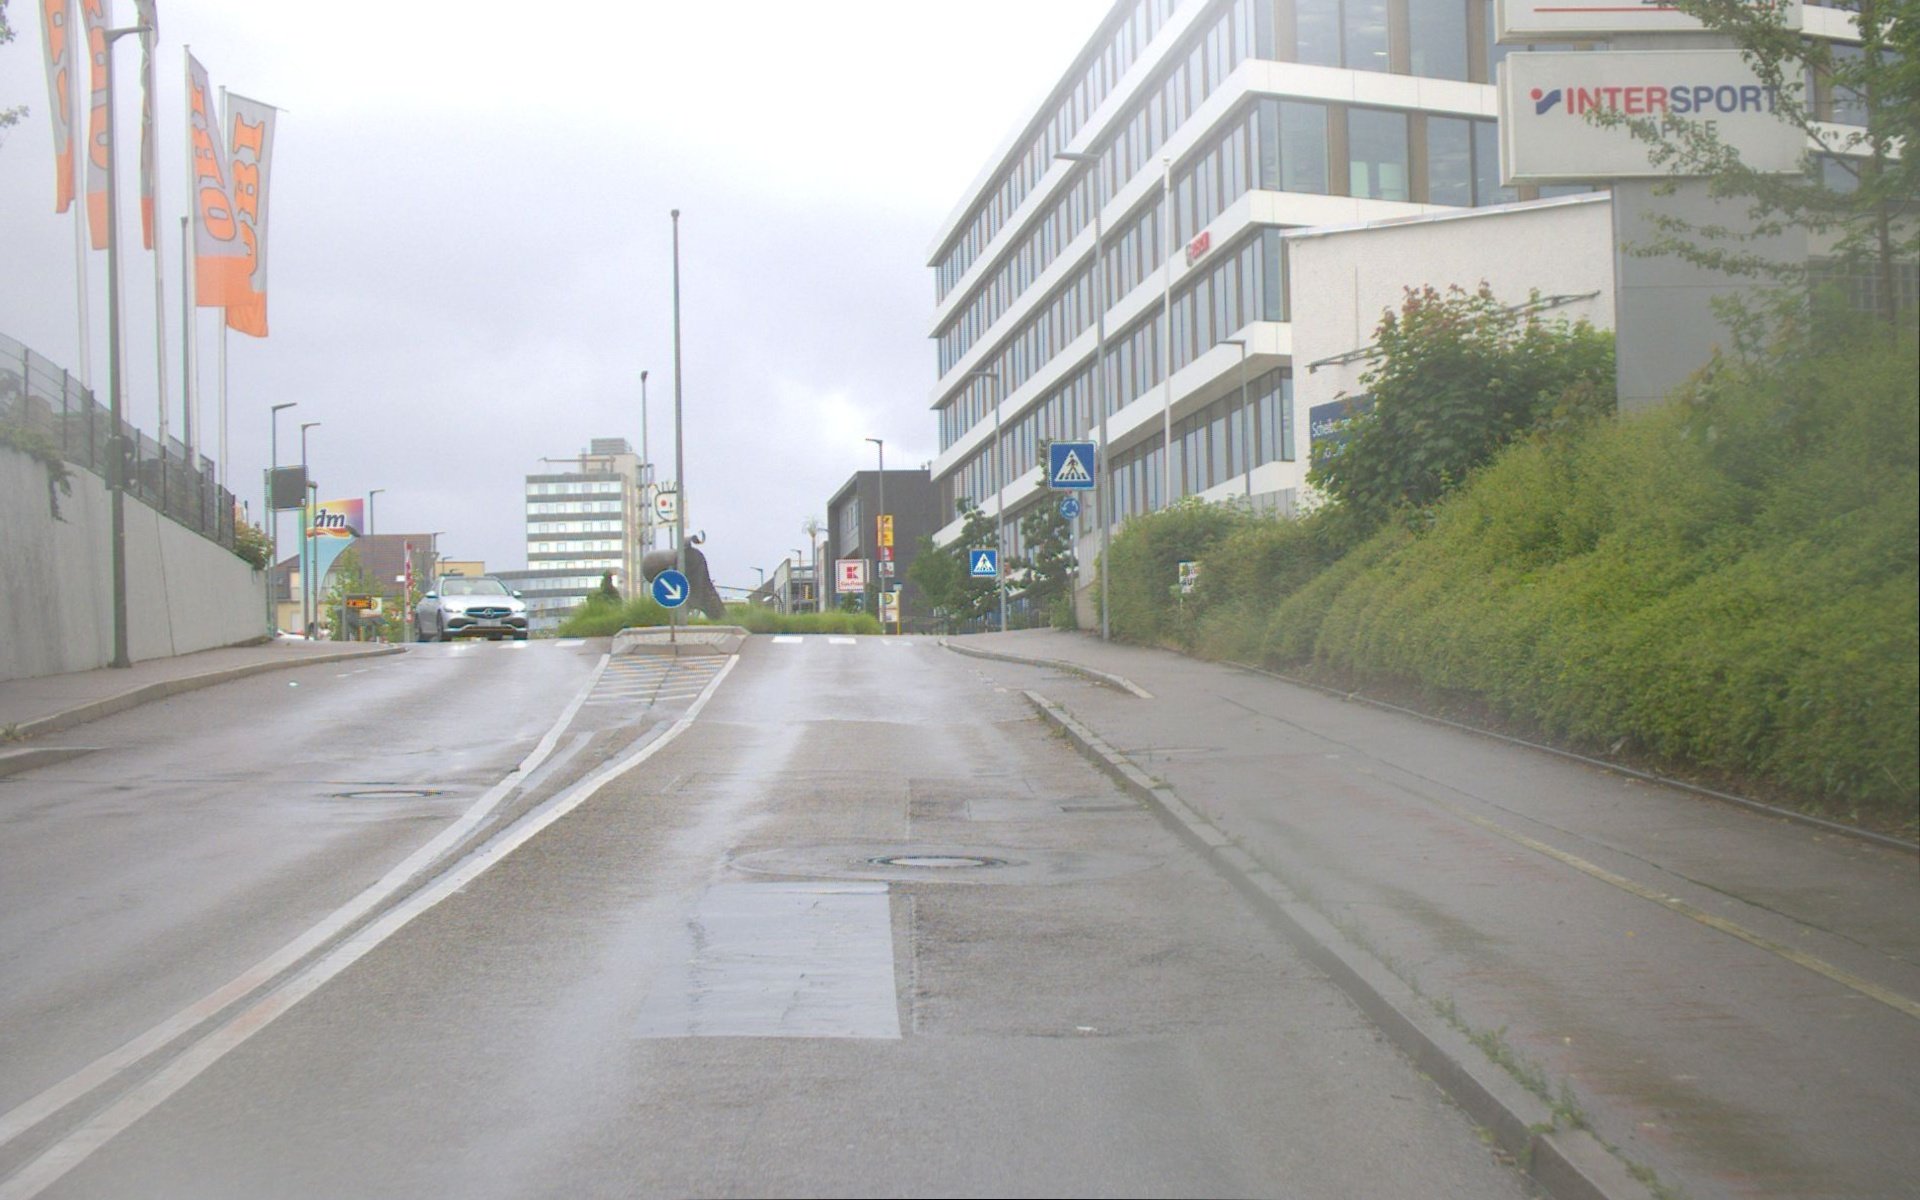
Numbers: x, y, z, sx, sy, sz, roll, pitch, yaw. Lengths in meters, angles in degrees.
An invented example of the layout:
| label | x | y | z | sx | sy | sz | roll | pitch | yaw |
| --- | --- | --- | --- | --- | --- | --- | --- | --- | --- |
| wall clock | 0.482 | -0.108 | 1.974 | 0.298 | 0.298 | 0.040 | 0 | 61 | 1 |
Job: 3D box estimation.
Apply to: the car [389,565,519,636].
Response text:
| label | x | y | z | sx | sy | sz | roll | pitch | yaw |
| --- | --- | --- | --- | --- | --- | --- | --- | --- | --- |
| car | -10.728 | -0.010 | 72.660 | 2.000 | 1.421 | 4.783 | 1 | 1 | -17 |
